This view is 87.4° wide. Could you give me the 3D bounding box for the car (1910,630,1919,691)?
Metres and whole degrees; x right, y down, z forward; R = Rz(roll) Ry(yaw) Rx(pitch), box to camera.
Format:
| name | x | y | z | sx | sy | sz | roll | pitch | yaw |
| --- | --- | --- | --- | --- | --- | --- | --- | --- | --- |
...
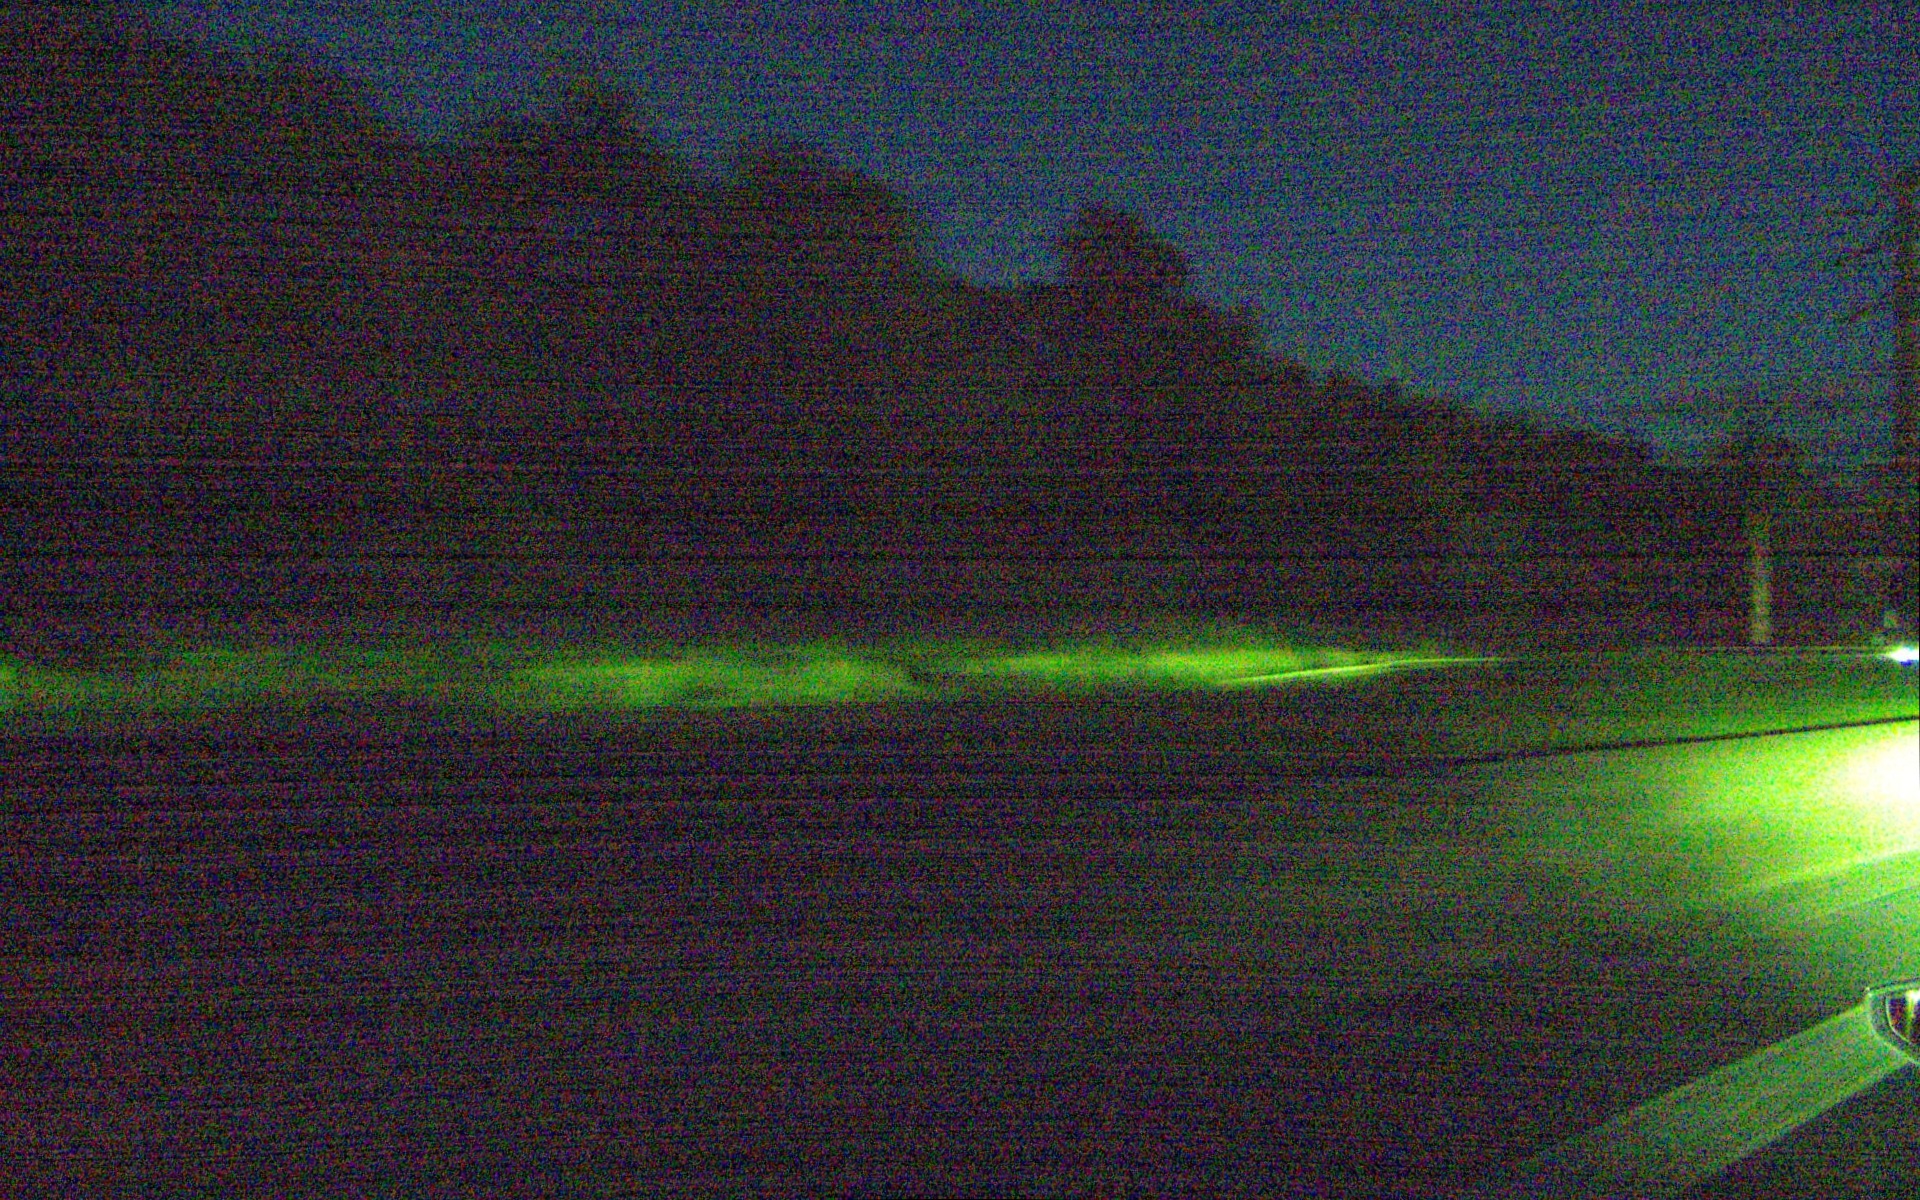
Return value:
| name | x | y | z | sx | sy | sz | roll | pitch | yaw |
| --- | --- | --- | --- | --- | --- | --- | --- | --- | --- |
| car | 33.032 | 1.908 | 32.572 | 5.396 | 1.948 | 1.898 | 0 | -2 | -32 |
